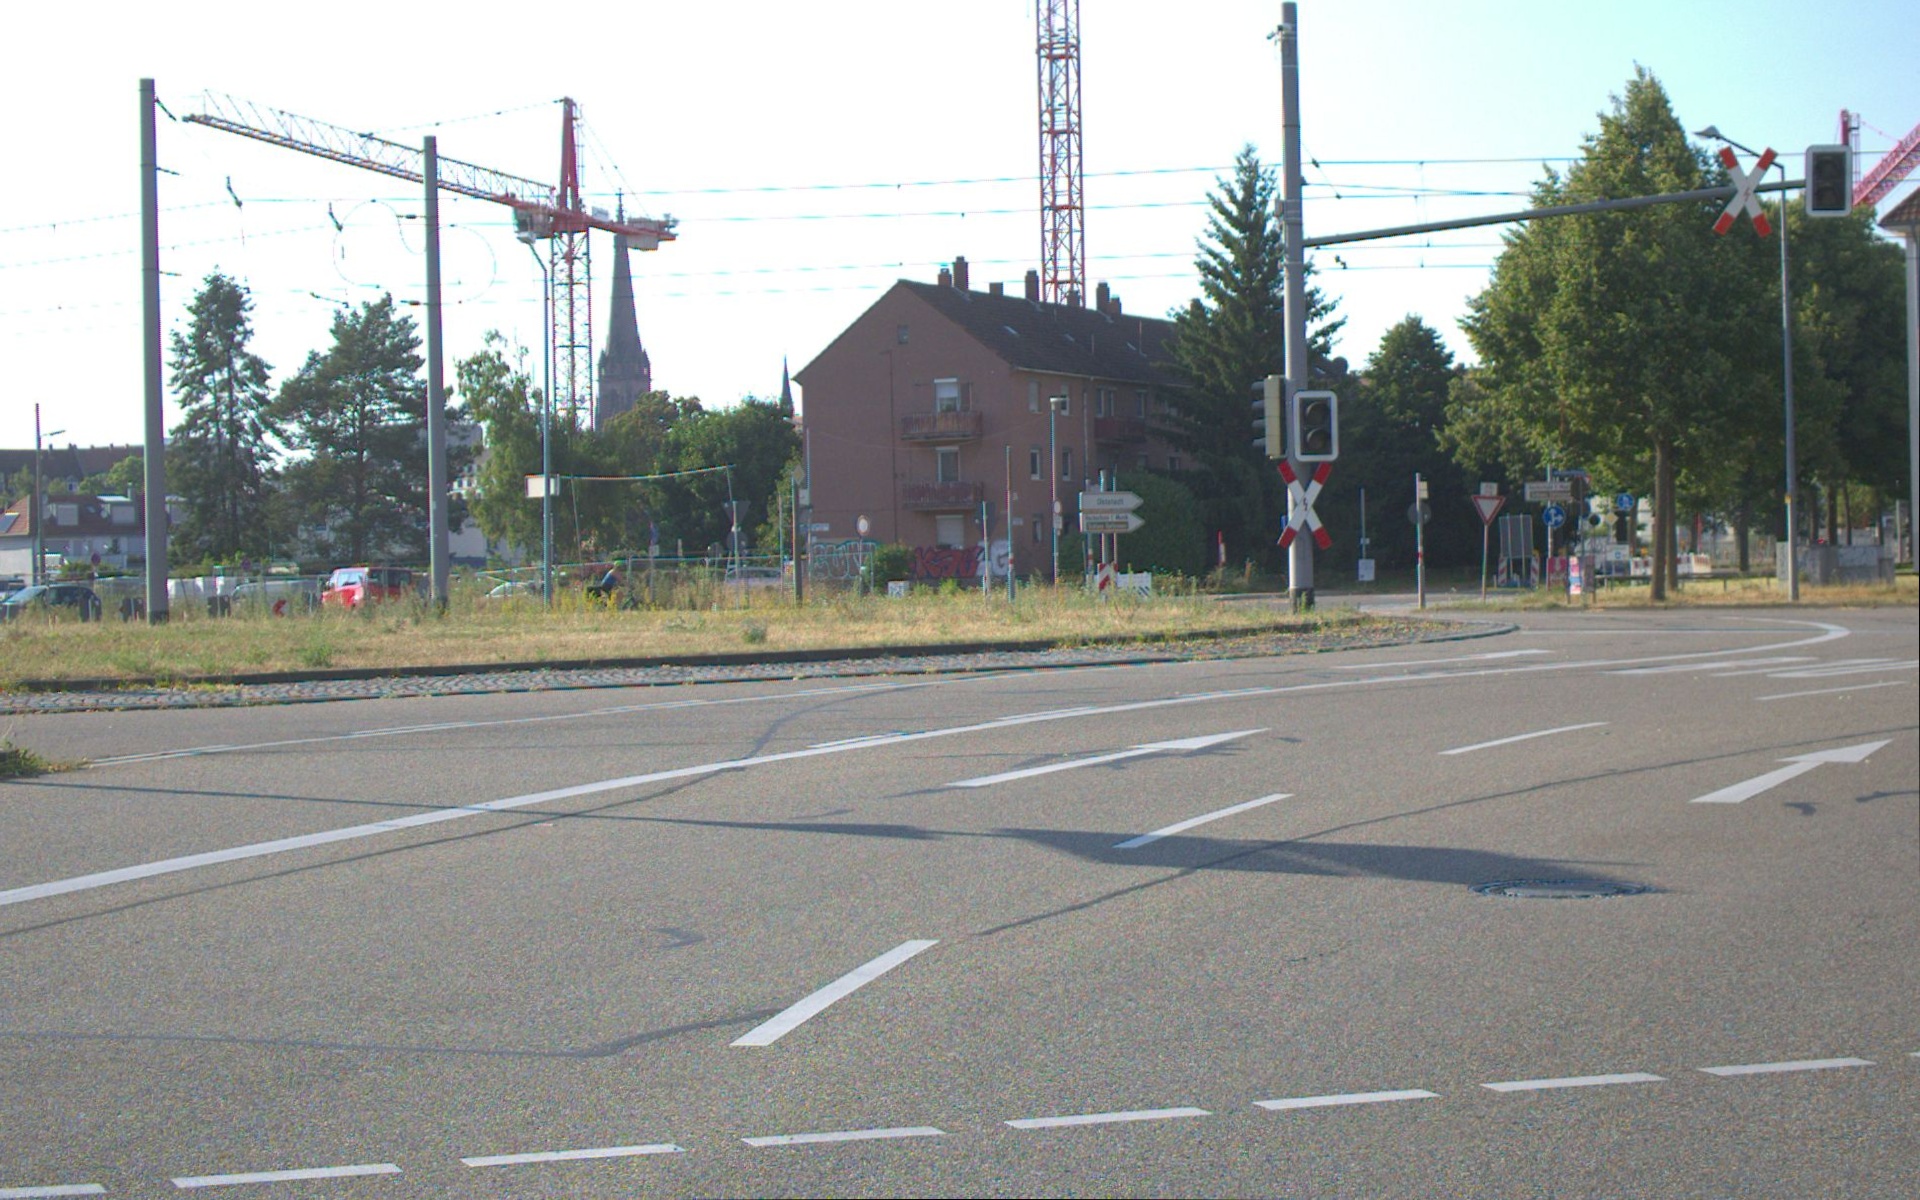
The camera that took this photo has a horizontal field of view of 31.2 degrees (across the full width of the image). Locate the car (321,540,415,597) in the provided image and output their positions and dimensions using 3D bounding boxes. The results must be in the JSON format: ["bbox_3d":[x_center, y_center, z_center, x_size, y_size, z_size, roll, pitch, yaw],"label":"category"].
[{"bbox_3d":[-20.042,-1.062,116.327,1.919,1.847,4.000,-2,1,-28],"label":"car"}]

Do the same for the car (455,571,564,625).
[{"bbox_3d":[-17.396,-0.064,132.788,3.812,2.007,1.670,-1,0,19],"label":"car"}]

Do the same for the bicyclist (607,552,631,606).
[{"bbox_3d":[-9.526,-0.585,96.012,0.622,1.506,0.419,-1,1,-5],"label":"bicyclist"}]

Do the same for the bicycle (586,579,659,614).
[{"bbox_3d":[-9.422,-0.101,96.023,1.987,0.915,0.430,-1,1,-6],"label":"bicycle"}]

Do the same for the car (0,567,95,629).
[{"bbox_3d":[-28.699,-0.046,104.964,3.987,1.809,2.000,-2,1,-32],"label":"car"}]

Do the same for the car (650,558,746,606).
[{"bbox_3d":[-11.392,-0.779,149.535,3.812,2.007,1.670,-1,0,19],"label":"car"}]

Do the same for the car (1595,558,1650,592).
[{"bbox_3d":[27.003,-1.019,140.061,1.457,1.295,3.544,-1,1,24],"label":"car"}]
